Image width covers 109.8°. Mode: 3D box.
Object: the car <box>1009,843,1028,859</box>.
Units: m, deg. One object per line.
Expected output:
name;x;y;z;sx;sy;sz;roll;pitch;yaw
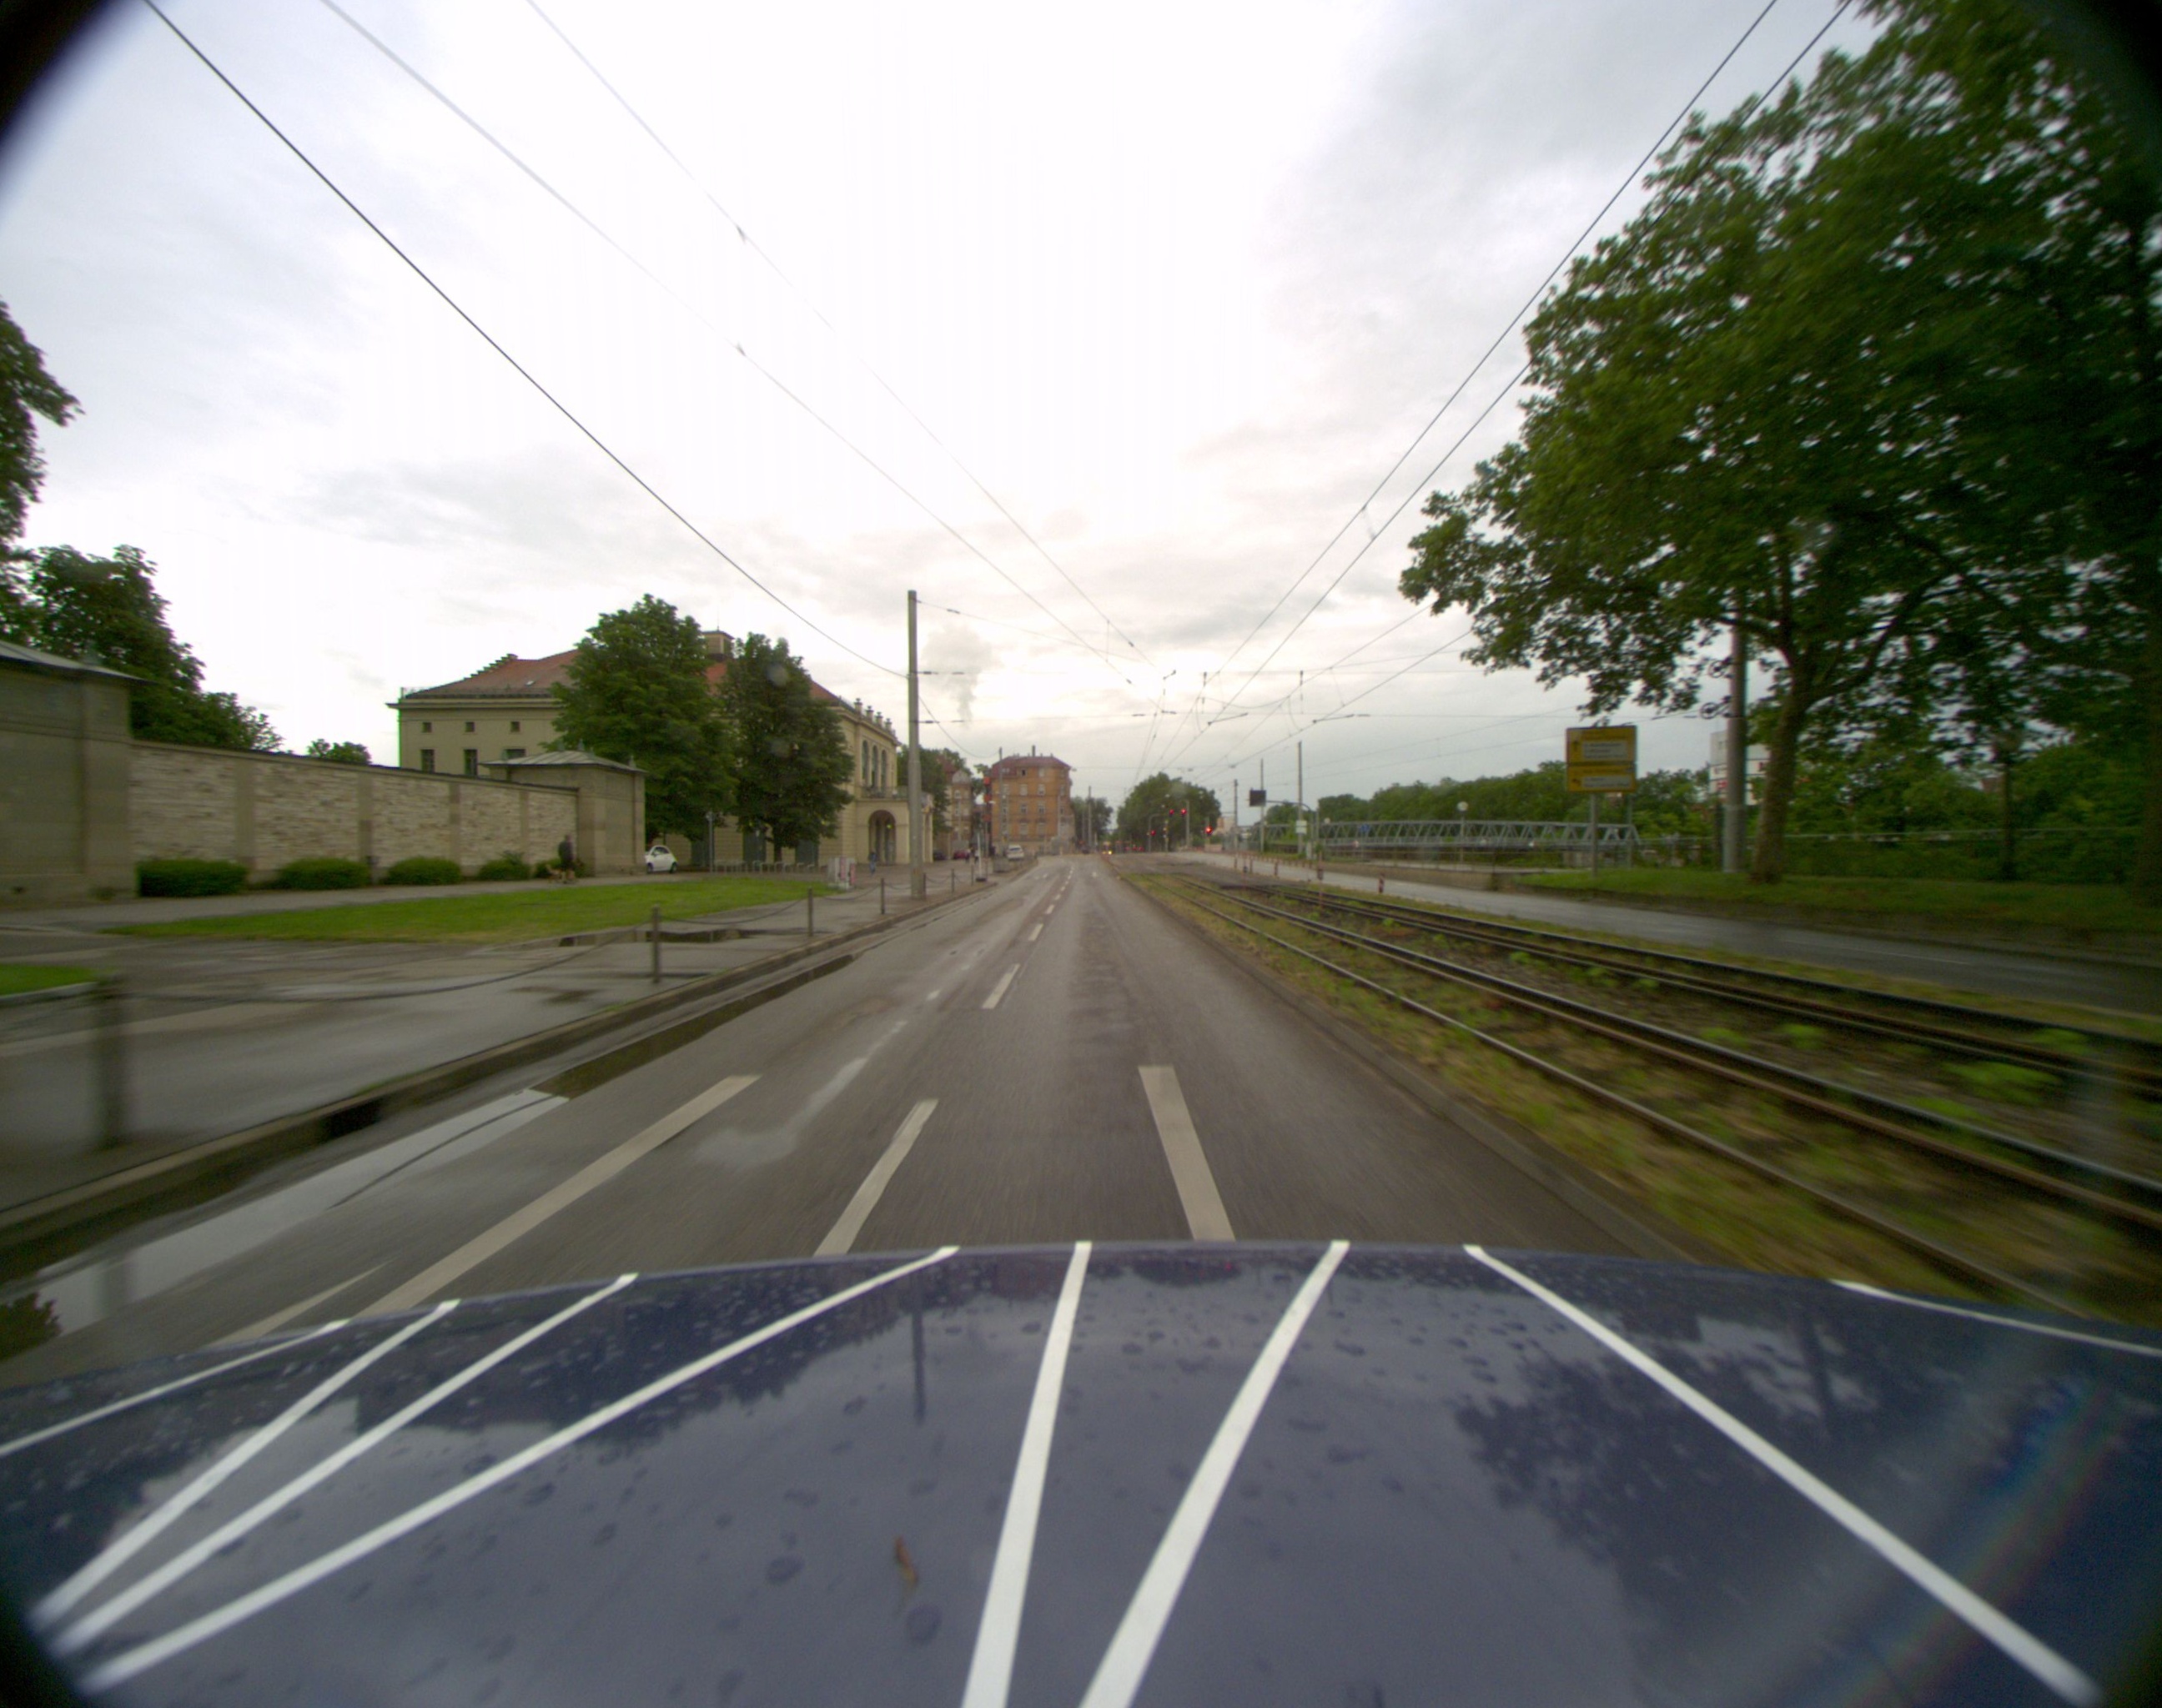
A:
car;-6.813;-0.344;82.872;1.844;1.630;4.140;-4;2;-4

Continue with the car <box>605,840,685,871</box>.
car;-21.287;0.121;37.297;1.841;1.446;3.598;0;-1;0

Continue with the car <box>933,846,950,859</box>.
car;-18.667;-0.214;101.467;1.864;1.539;4.063;-2;1;-6

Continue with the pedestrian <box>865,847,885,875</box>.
pedestrian;-11.821;0.379;43.587;0.863;1.581;0.669;2;1;27

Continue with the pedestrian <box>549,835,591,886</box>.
pedestrian;-17.515;0.220;26.052;0.730;1.701;0.981;0;1;1

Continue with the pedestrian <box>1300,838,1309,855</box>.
pedestrian;22.839;-0.763;77.705;0.766;1.678;0.618;0;2;-1

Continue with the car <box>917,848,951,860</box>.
car;-17.878;0.022;92.524;3.742;1.461;1.728;0;2;3

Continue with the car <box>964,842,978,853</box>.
car;-16.292;-0.985;112.239;1.831;1.574;3.997;-1;1;-5

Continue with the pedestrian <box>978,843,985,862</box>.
pedestrian;-9.434;-0.148;72.136;0.595;1.726;0.838;0;2;-2

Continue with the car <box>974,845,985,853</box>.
car;-20.381;-1.074;152.644;1.831;1.574;3.997;-1;1;-5

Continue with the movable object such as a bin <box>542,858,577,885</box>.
movable object such as a bin;-18.078;0.595;26.365;0.343;0.867;1.191;0;1;1

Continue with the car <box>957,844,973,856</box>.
car;-15.443;-0.583;101.206;1.831;1.574;3.997;-1;1;-5

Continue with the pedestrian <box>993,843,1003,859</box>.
pedestrian;-9.385;-0.340;85.607;0.783;1.797;0.696;-4;3;-40

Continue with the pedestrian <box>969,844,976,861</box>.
pedestrian;-10.369;-0.132;72.411;0.629;1.635;0.780;-1;2;-6
